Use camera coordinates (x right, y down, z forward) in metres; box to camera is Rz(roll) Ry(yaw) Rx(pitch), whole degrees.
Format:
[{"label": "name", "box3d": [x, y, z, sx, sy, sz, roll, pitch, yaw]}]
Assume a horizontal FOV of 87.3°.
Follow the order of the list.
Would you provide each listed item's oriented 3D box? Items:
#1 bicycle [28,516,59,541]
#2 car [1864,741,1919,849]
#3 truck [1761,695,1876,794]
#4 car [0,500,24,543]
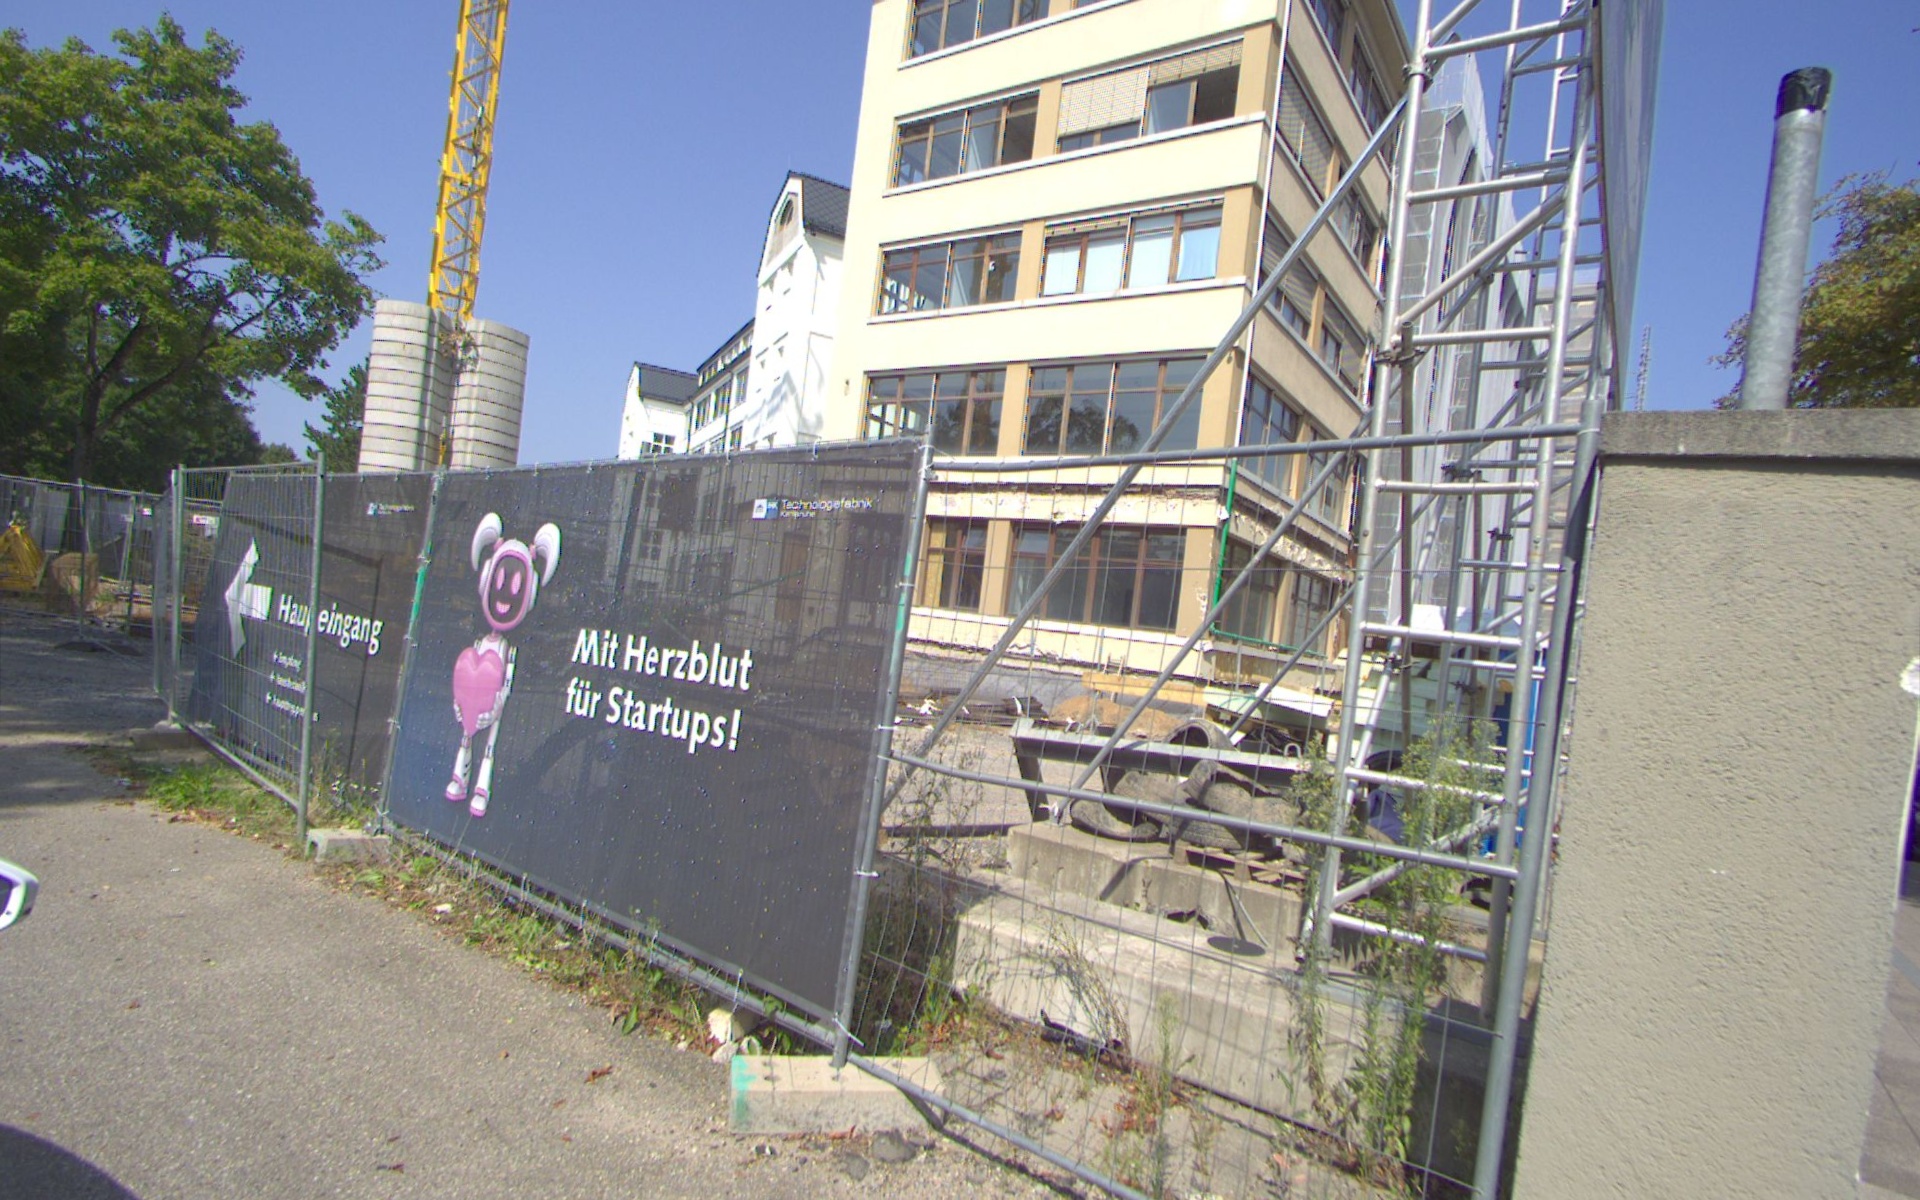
[{"label": "bicycle", "box3d": [-47.994, -3.740, 52.673, 0.493, 1.120, 1.791, 8, -1, -22]}, {"label": "car", "box3d": [15.857, 3.145, 15.863, 1.653, 1.475, 4.652, 7, -1, 35]}, {"label": "truck", "box3d": [27.055, 4.475, 31.906, 1.892, 2.630, 5.579, 6, -1, 34]}, {"label": "car", "box3d": [-39.805, -3.391, 39.349, 4.113, 1.631, 1.987, 9, -2, -27]}]
